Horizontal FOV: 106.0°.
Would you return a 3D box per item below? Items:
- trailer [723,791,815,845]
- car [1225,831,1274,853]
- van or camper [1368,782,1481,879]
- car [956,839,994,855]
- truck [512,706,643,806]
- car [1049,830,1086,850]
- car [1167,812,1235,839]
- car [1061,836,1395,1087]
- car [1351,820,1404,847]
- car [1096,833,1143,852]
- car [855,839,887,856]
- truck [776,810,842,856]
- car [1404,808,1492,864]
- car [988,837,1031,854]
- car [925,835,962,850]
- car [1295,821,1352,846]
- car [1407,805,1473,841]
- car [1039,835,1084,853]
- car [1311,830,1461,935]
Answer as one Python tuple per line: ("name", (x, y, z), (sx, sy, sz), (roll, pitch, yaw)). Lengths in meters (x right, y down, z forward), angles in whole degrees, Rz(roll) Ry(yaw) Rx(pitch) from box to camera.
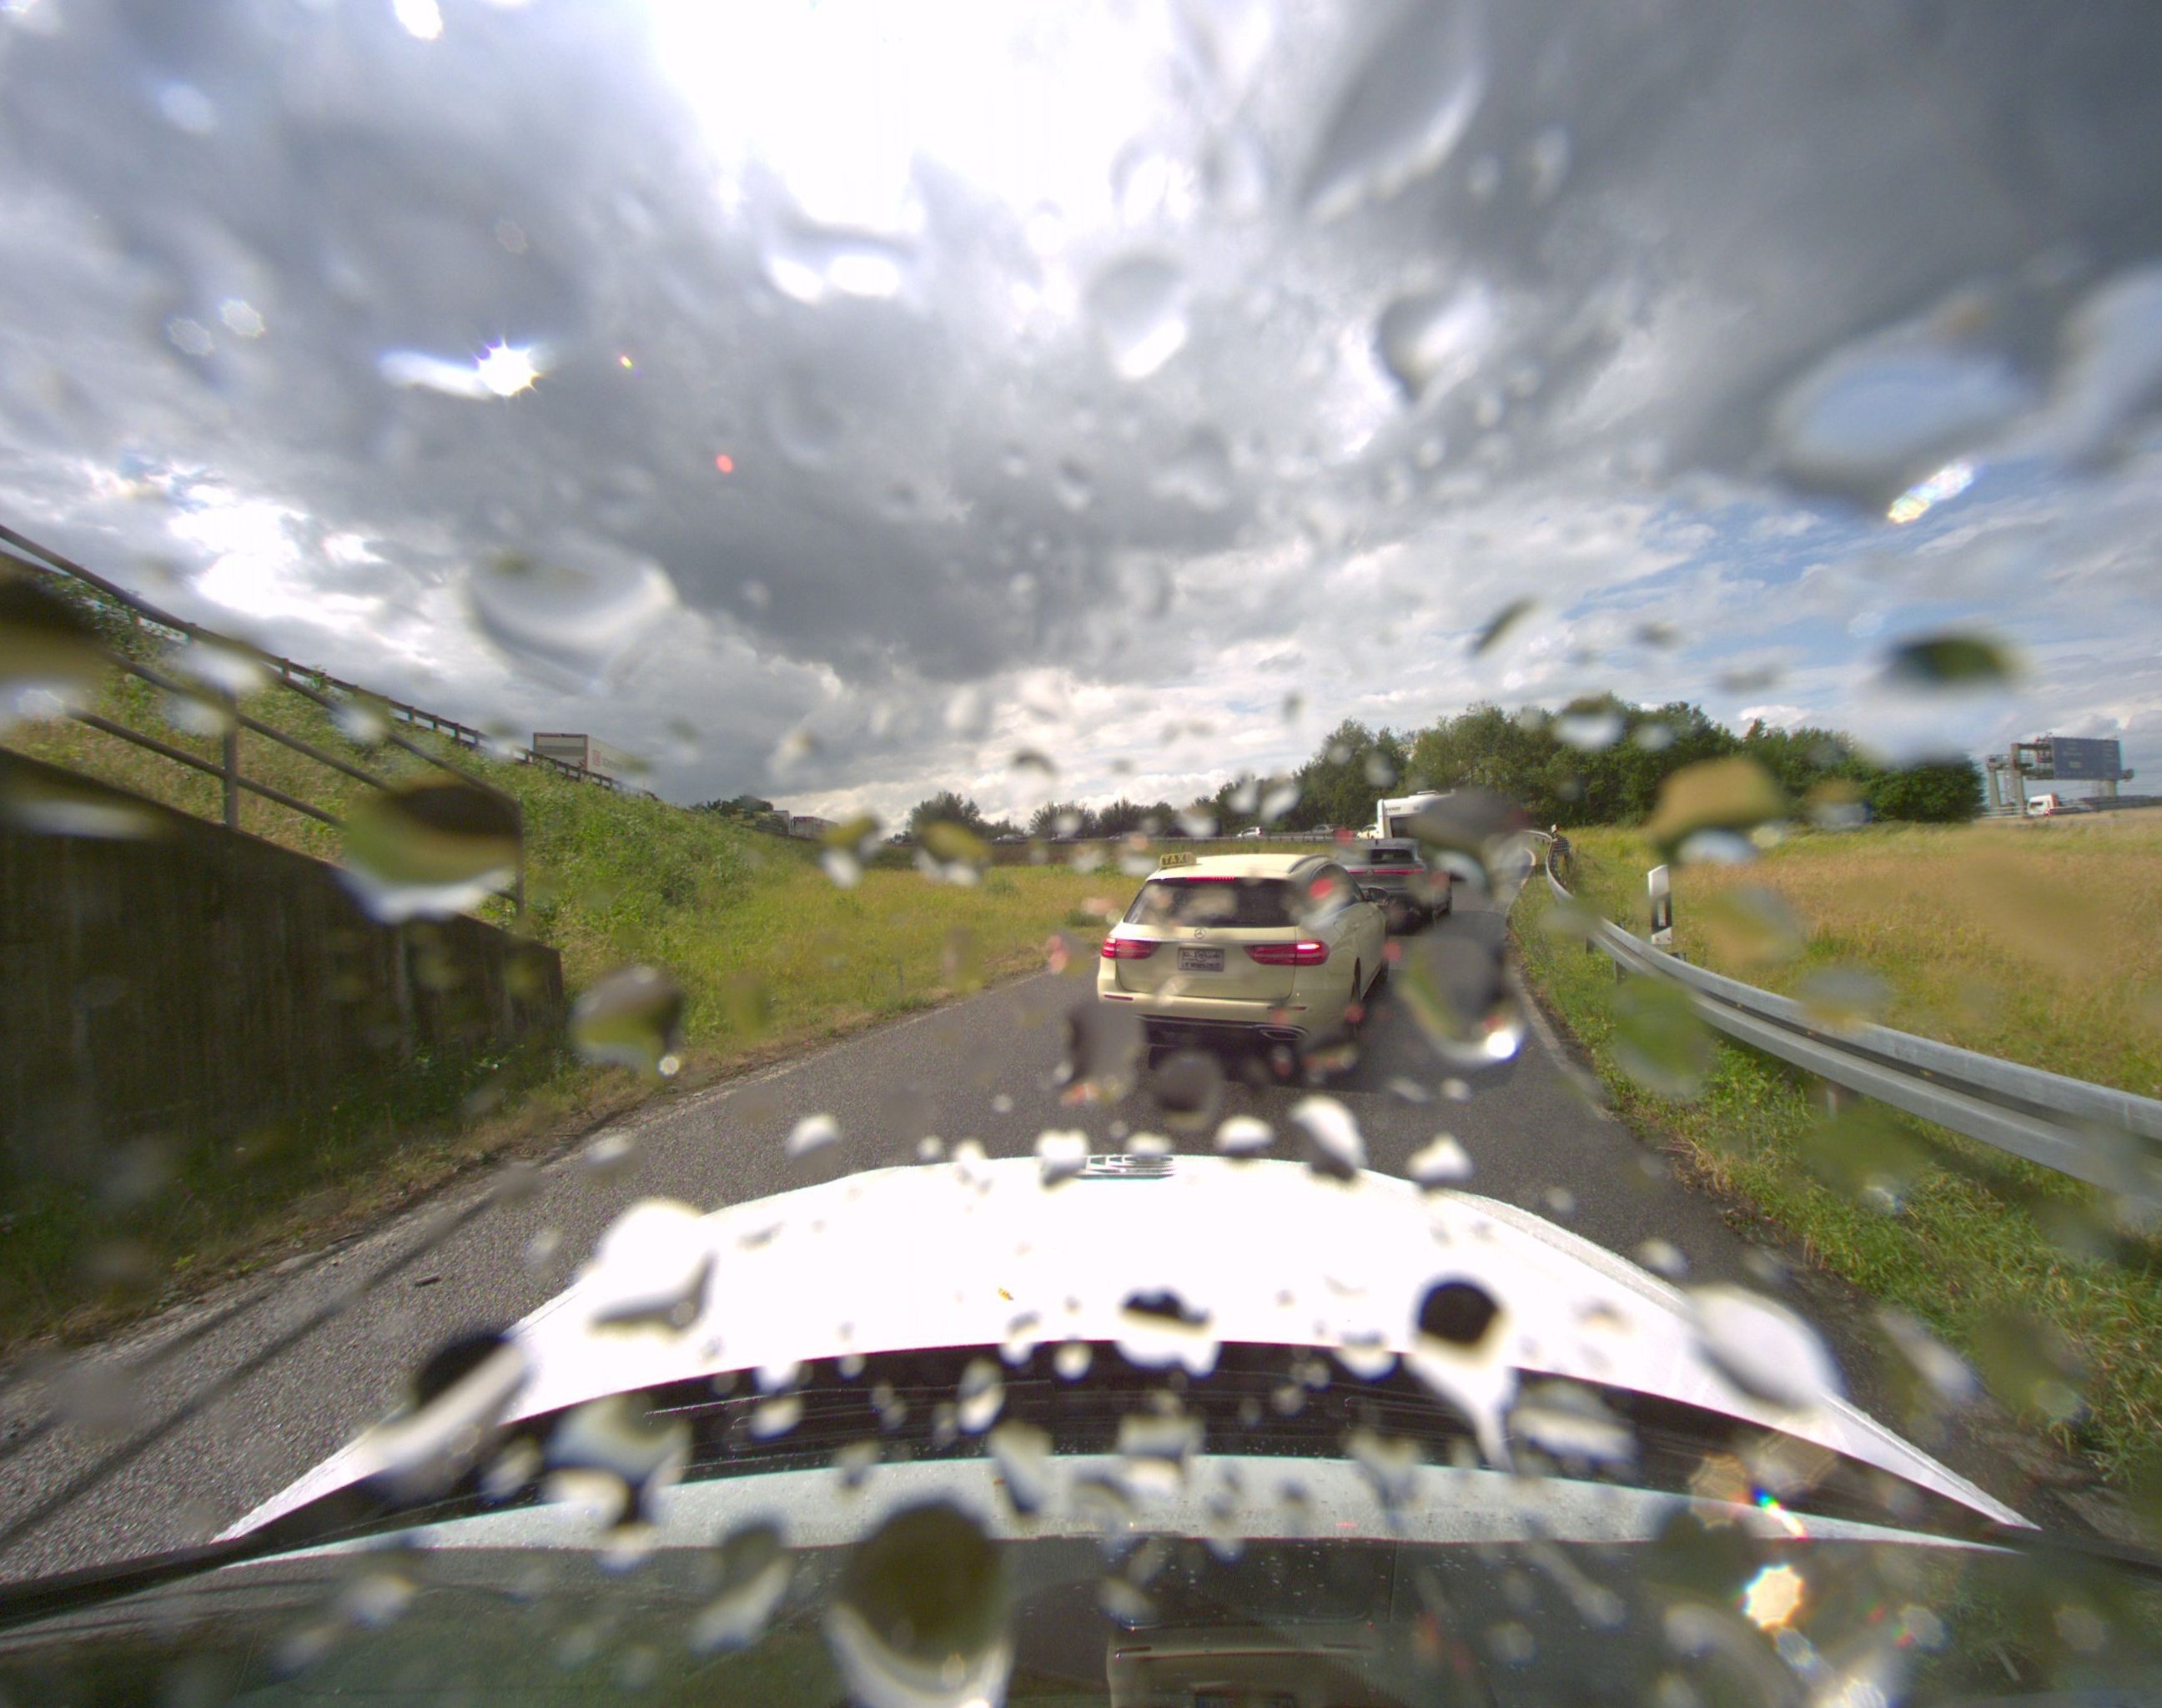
("trailer", (-33.480, -3.607, 88.805), (4.409, 3.956, 20.165), (-2, -3, -7))
("car", (16.737, -1.198, 81.073), (2.005, 1.861, 5.011), (-3, -1, -27))
("van or camper", (11.222, -0.804, 26.275), (2.407, 2.729, 6.041), (-2, 2, 31))
("car", (-14.080, -0.904, 108.220), (4.459, 1.861, 2.010), (-3, -1, 18))
("truck", (-27.635, -5.178, 45.306), (3.183, 3.967, 9.197), (-1, -3, -12))
("car", (-1.646, -1.688, 99.141), (3.948, 2.014, 2.012), (-3, -5, 32))
("car", (12.742, -3.016, 87.027), (2.891, 2.595, 6.899), (-3, 1, -42))
("car", (1.709, 0.629, 7.514), (1.899, 1.507, 4.623), (-1, 1, 25))
("car", (22.008, -1.524, 60.599), (1.988, 1.861, 5.055), (-2, 1, -1))
("car", (4.439, -1.304, 94.300), (4.991, 1.861, 2.013), (-4, -1, 37))
("car", (-27.429, -0.794, 106.473), (3.991, 2.014, 1.818), (-1, -3, -13))
("truck", (-35.717, -2.511, 108.126), (4.456, 4.504, 19.325), (-2, -3, -7))
("car", (14.254, -0.748, 31.384), (2.405, 1.925, 5.797), (-2, 2, 30))
("car", (-8.986, -1.081, 102.539), (4.994, 1.861, 2.012), (-4, -1, 26))
("car", (-19.256, -1.586, 113.637), (4.991, 1.861, 2.013), (-4, -1, 35))
("car", (20.906, -1.731, 70.466), (2.002, 1.861, 5.018), (-3, -1, -23))
("car", (21.900, -1.849, 49.942), (1.985, 1.861, 5.062), (-3, -1, 3))
("car", (-2.399, -1.169, 98.944), (4.994, 1.861, 2.012), (-4, -1, 26))
("car", (5.478, 0.411, 14.304), (1.701, 1.525, 4.025), (-4, -1, 30))
